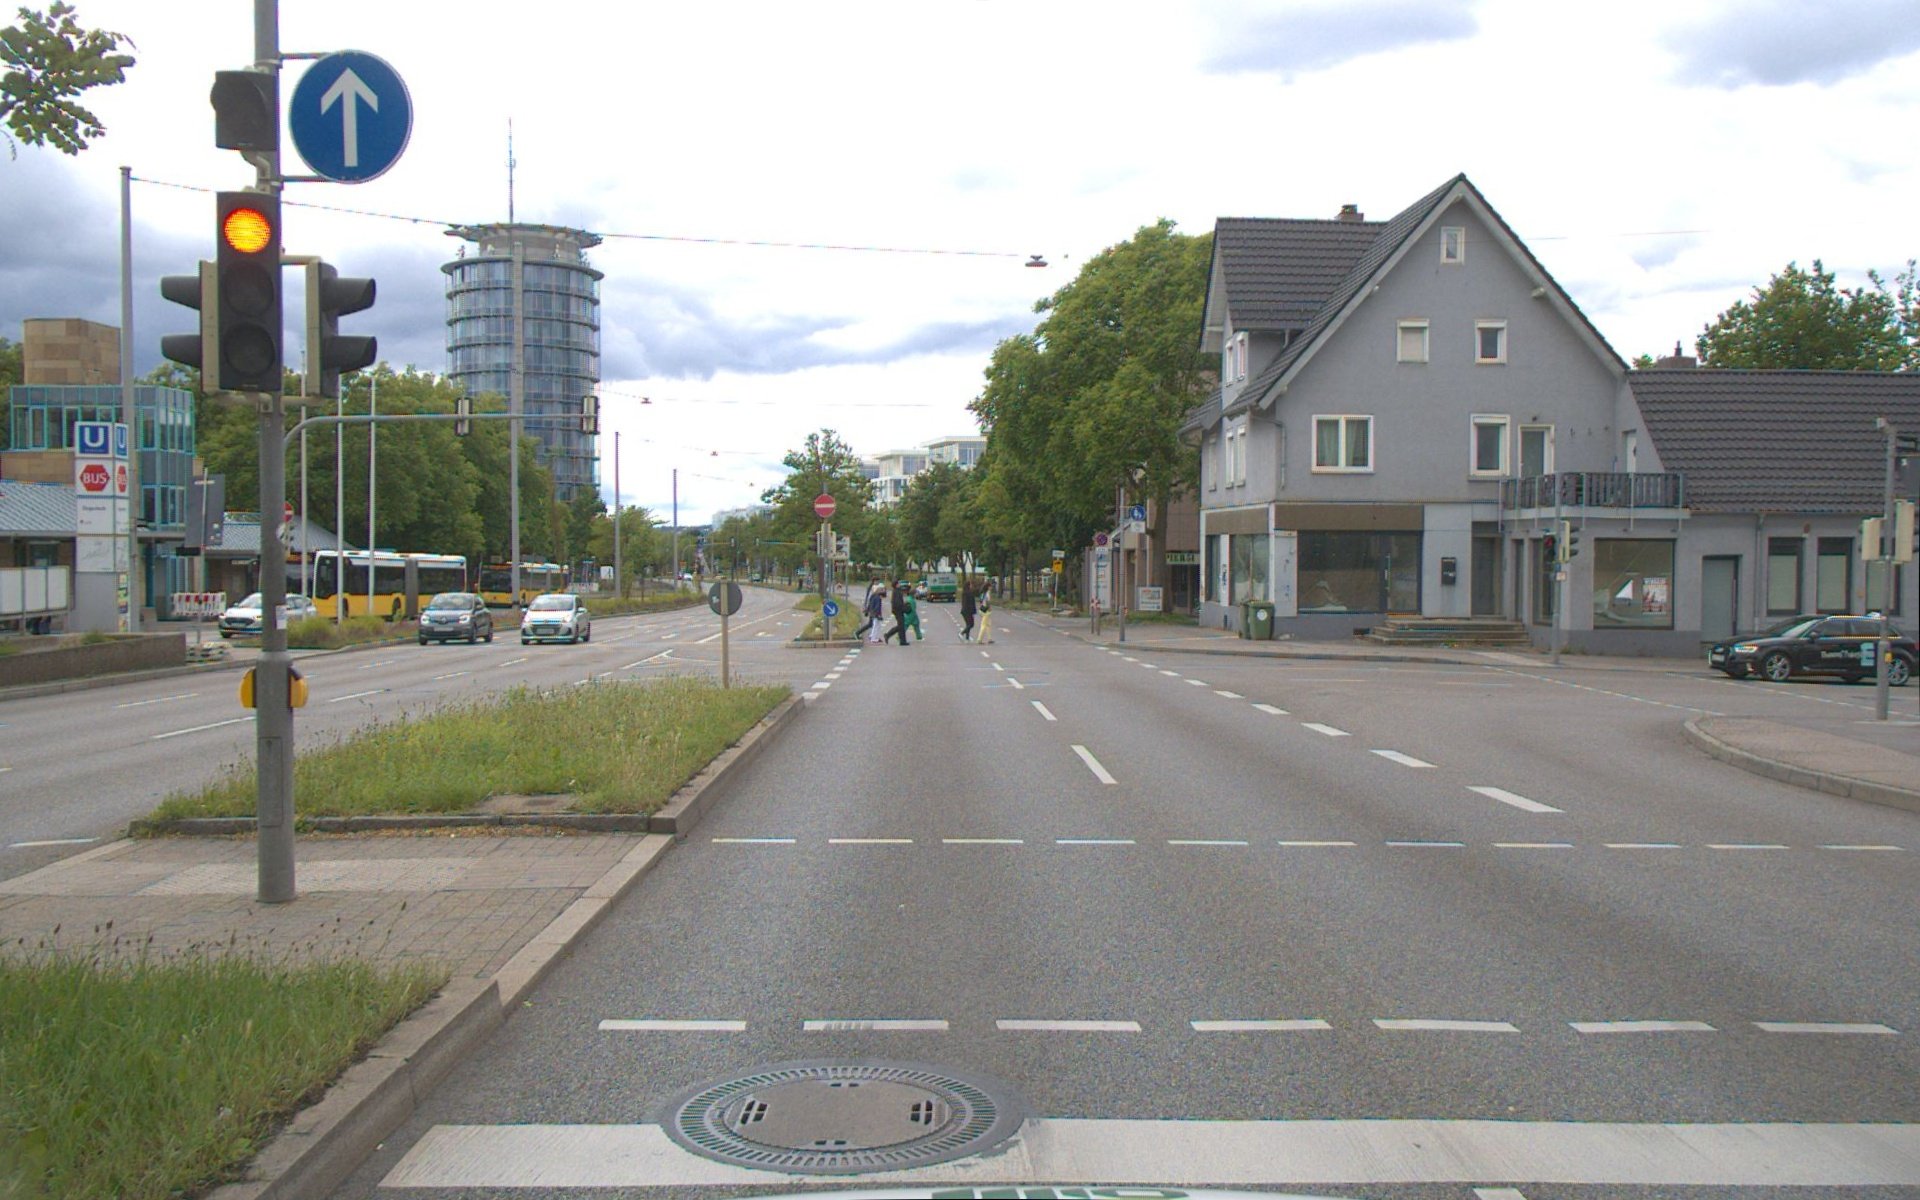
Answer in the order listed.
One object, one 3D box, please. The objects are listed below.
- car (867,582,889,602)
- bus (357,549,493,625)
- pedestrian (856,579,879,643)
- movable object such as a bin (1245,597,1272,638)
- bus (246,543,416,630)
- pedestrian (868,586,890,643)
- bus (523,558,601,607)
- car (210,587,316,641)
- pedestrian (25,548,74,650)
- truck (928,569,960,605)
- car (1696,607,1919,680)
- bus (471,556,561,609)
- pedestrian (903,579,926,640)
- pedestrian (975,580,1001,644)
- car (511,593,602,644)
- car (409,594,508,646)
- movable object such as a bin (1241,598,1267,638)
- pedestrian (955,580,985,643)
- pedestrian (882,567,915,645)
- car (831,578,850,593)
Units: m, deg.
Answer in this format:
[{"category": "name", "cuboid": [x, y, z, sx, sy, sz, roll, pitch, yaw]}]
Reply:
[{"category": "car", "cuboid": [-7.917, -0.801, 159.892, 1.953, 1.862, 3.999, 1, 0, -1]}, {"category": "bus", "cuboid": [-26.507, -0.624, 82.585, 2.772, 3.490, 10.737, 0, 0, 3]}, {"category": "pedestrian", "cuboid": [-2.556, 0.292, 45.721, 0.601, 1.746, 0.545, 0, 0, -8]}, {"category": "movable object such as a bin", "cuboid": [7.953, 0.470, 44.042, 0.592, 1.078, 0.589, 1, 0, 1]}, {"category": "bus", "cuboid": [-27.080, -0.571, 71.951, 2.772, 3.490, 10.737, 0, 0, 3]}, {"category": "pedestrian", "cuboid": [-2.199, 0.390, 44.836, 0.533, 1.522, 0.486, 0, 0, -8]}, {"category": "bus", "cuboid": [-29.812, -1.308, 124.393, 2.772, 3.490, 10.737, 0, 0, 3]}, {"category": "car", "cuboid": [-22.890, 0.434, 54.467, 1.769, 1.691, 4.000, 0, 0, 0]}, {"category": "pedestrian", "cuboid": [-18.605, -0.022, 33.812, 0.668, 2.049, 0.645, 0, 0, -5]}, {"category": "truck", "cuboid": [-1.300, -1.044, 130.775, 2.420, 2.657, 6.547, 1, 1, -1]}, {"category": "car", "cuboid": [18.112, 0.921, 35.309, 4.006, 1.395, 1.799, 2, 0, -2]}, {"category": "bus", "cuboid": [-30.377, -1.165, 113.644, 2.772, 3.490, 10.737, 0, 0, 3]}, {"category": "pedestrian", "cuboid": [-1.304, 0.264, 47.332, 0.572, 1.746, 0.545, 0, 0, -8]}, {"category": "pedestrian", "cuboid": [0.769, 0.335, 45.562, 0.641, 1.746, 0.451, 0, 0, -8]}, {"category": "car", "cuboid": [-12.320, 0.537, 50.750, 1.953, 1.512, 3.998, -1, 0, -2]}, {"category": "car", "cuboid": [-15.453, 0.589, 51.167, 1.953, 1.512, 3.998, -1, 0, -2]}, {"category": "movable object such as a bin", "cuboid": [7.929, 0.493, 44.620, 0.603, 1.061, 0.589, 1, 0, 1]}, {"category": "pedestrian", "cuboid": [0.276, 0.317, 46.062, 0.731, 1.746, 0.582, 0, 0, -8]}, {"category": "pedestrian", "cuboid": [-1.639, 0.151, 44.132, 0.814, 2.049, 0.545, 0, 0, -8]}, {"category": "car", "cuboid": [-12.745, -1.582, 175.940, 1.954, 1.545, 3.996, 0, 1, -5]}]
